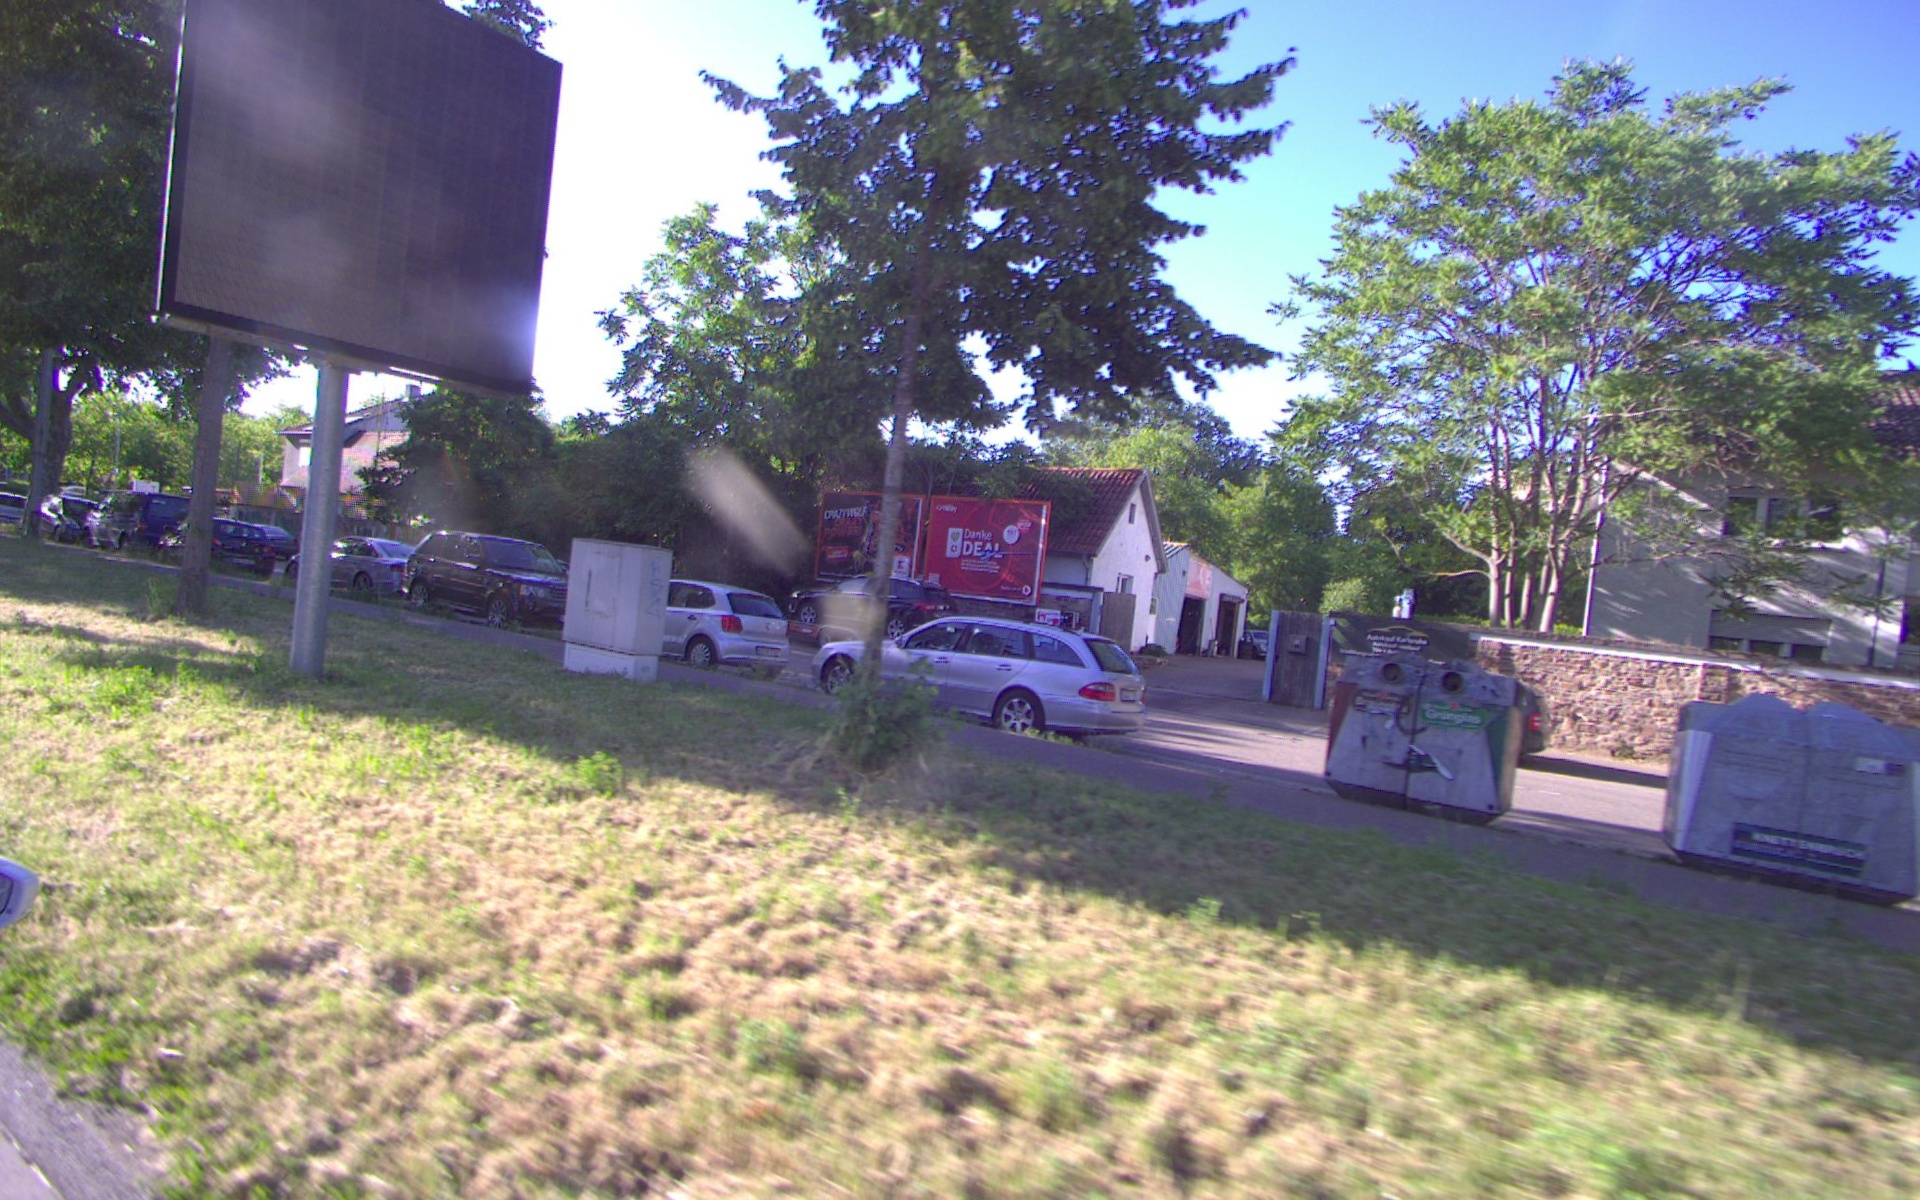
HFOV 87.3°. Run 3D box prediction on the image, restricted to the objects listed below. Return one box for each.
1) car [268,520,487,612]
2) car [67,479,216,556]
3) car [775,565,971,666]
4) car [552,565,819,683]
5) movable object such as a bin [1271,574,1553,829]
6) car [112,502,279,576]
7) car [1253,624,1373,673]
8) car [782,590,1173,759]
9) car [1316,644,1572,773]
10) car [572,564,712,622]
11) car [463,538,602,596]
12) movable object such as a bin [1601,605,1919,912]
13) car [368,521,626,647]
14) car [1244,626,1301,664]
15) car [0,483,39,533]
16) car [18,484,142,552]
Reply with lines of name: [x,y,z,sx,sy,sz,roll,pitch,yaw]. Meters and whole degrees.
car: [-12.944,-0.774,22.288,4.818,1.451,1.875,6,-1,29]
car: [-23.471,-2.378,28.842,3.931,1.704,1.875,6,-1,29]
car: [-2.255,0.360,25.605,4.612,2.029,1.872,6,2,30]
car: [-4.531,0.390,16.548,3.931,1.405,1.875,6,-1,29]
movable object such as a bin: [4.556,0.948,10.045,2.101,2.037,2.084,6,-1,33]
car: [-19.550,-1.559,25.704,3.931,1.384,1.875,6,-1,29]
car: [14.667,2.000,41.823,4.335,1.437,1.902,6,-1,29]
car: [0.136,0.935,13.757,4.973,1.542,1.874,6,-1,32]
car: [8.886,1.888,18.589,3.933,1.662,1.994,6,3,30]
car: [-9.723,-0.229,30.672,4.243,1.390,1.730,6,2,33]
car: [-14.478,-1.117,34.013,4.612,1.503,1.872,6,2,30]
movable object such as a bin: [6.825,1.242,8.570,2.101,2.037,2.084,6,-1,33]
car: [-8.930,-0.330,19.302,4.809,1.842,1.875,6,-1,29]
car: [14.259,2.058,46.049,1.868,1.437,4.004,7,-2,11]
car: [-36.105,-3.530,37.113,3.931,1.706,1.873,6,1,28]
car: [-28.165,-2.637,32.168,3.935,1.704,1.873,6,-1,33]
